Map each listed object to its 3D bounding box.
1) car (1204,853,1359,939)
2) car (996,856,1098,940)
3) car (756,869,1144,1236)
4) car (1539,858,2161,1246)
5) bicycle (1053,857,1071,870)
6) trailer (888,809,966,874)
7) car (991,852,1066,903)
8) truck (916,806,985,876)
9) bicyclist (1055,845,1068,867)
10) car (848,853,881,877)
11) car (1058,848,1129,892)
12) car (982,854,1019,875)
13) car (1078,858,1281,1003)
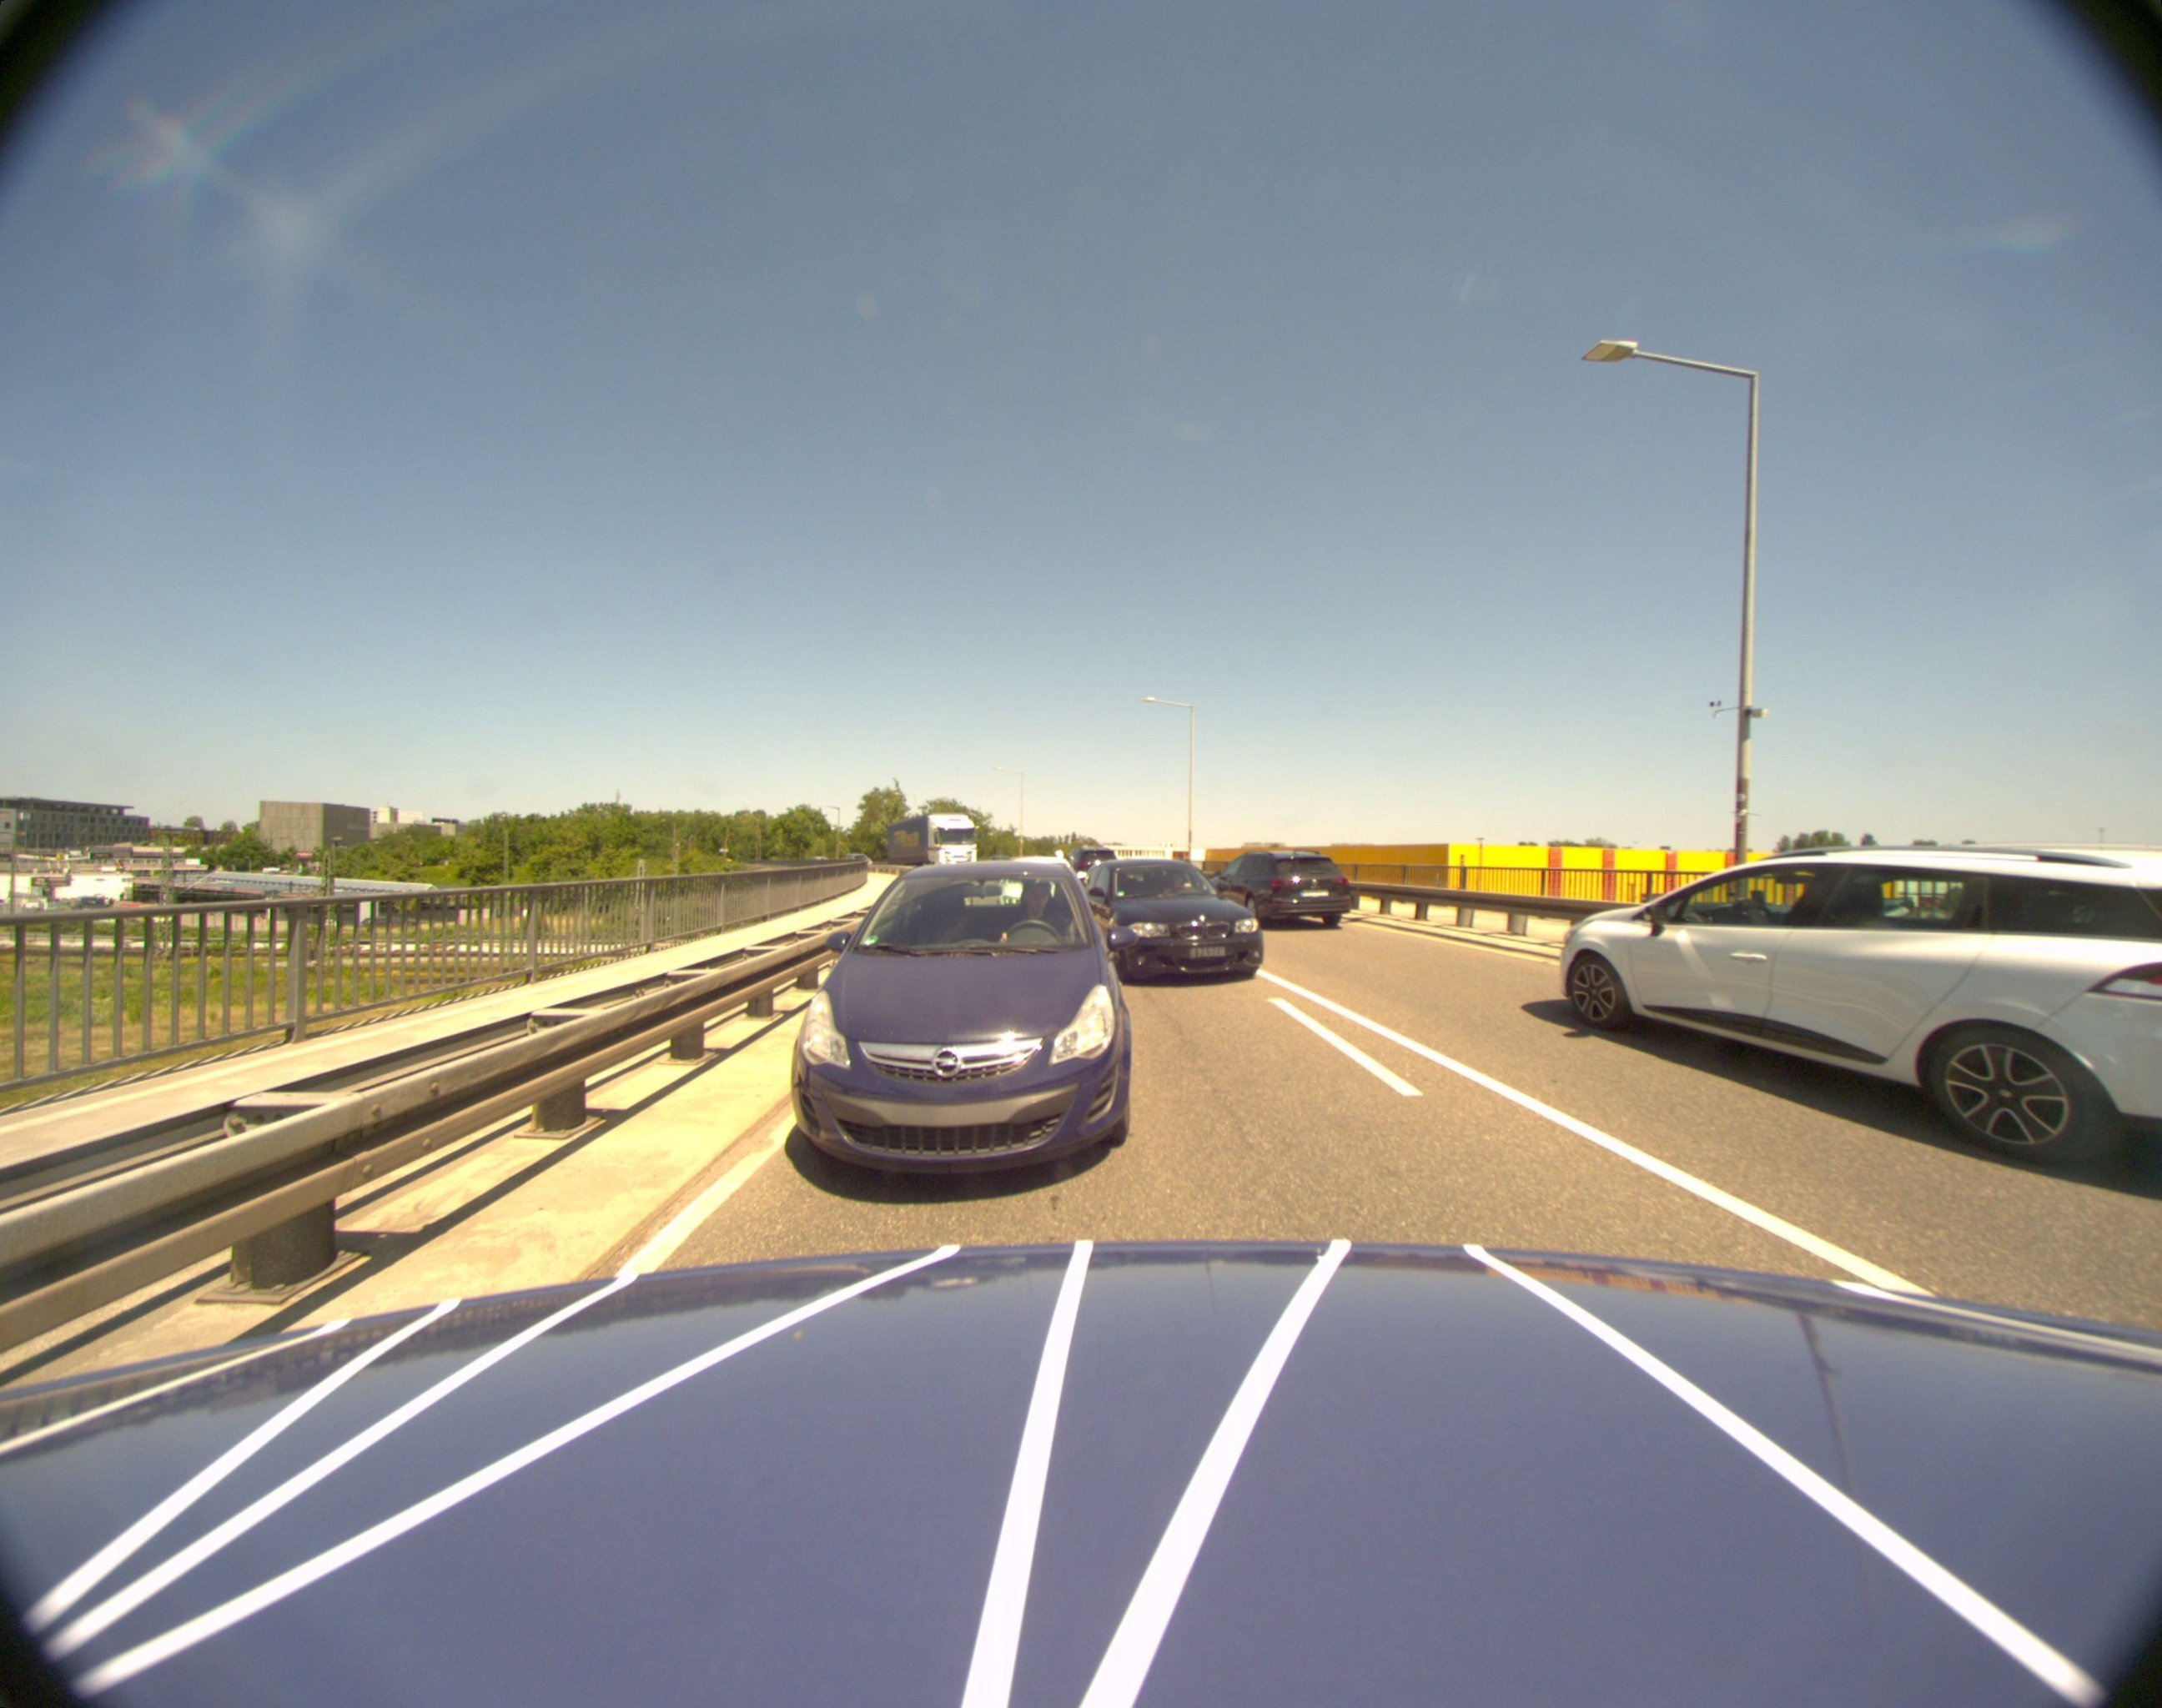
[{"bbox_3d":[3.916,0.736,15.675,1.715,1.460,4.457,-1,0,-4],"label":"car"},{"bbox_3d":[-0.883,0.826,16.438,1.795,1.447,4.519,-2,1,-7],"label":"car"},{"bbox_3d":[-0.683,0.902,5.332,1.645,1.431,3.998,-2,1,-4],"label":"car"},{"bbox_3d":[4.918,0.785,4.651,1.604,1.441,4.054,-1,1,-3],"label":"car"},{"bbox_3d":[-1.312,0.649,52.580,0.590,0.828,1.987,-1,1,-22],"label":"bicycle"},{"bbox_3d":[-11.743,-0.906,56.629,2.705,4.211,12.686,-3,2,-24],"label":"trailer"},{"bbox_3d":[-1.809,0.690,24.616,1.796,1.446,4.518,-2,0,-11],"label":"car"},{"bbox_3d":[-8.672,-0.858,49.801,2.699,4.205,6.825,-3,2,-24],"label":"truck"},{"bbox_3d":[-1.331,0.157,52.588,0.586,1.512,0.894,-2,1,-23],"label":"bicyclist"},{"bbox_3d":[-21.515,1.124,75.476,2.003,2.001,3.993,-5,-1,-32],"label":"car"},{"bbox_3d":[0.406,0.590,31.318,1.973,1.663,4.608,-1,0,-11],"label":"car"},{"bbox_3d":[-5.474,0.673,51.211,1.685,1.300,3.966,-1,0,-18],"label":"car"},{"bbox_3d":[1.071,0.832,10.467,1.795,1.447,4.520,-1,1,-5],"label":"car"}]
